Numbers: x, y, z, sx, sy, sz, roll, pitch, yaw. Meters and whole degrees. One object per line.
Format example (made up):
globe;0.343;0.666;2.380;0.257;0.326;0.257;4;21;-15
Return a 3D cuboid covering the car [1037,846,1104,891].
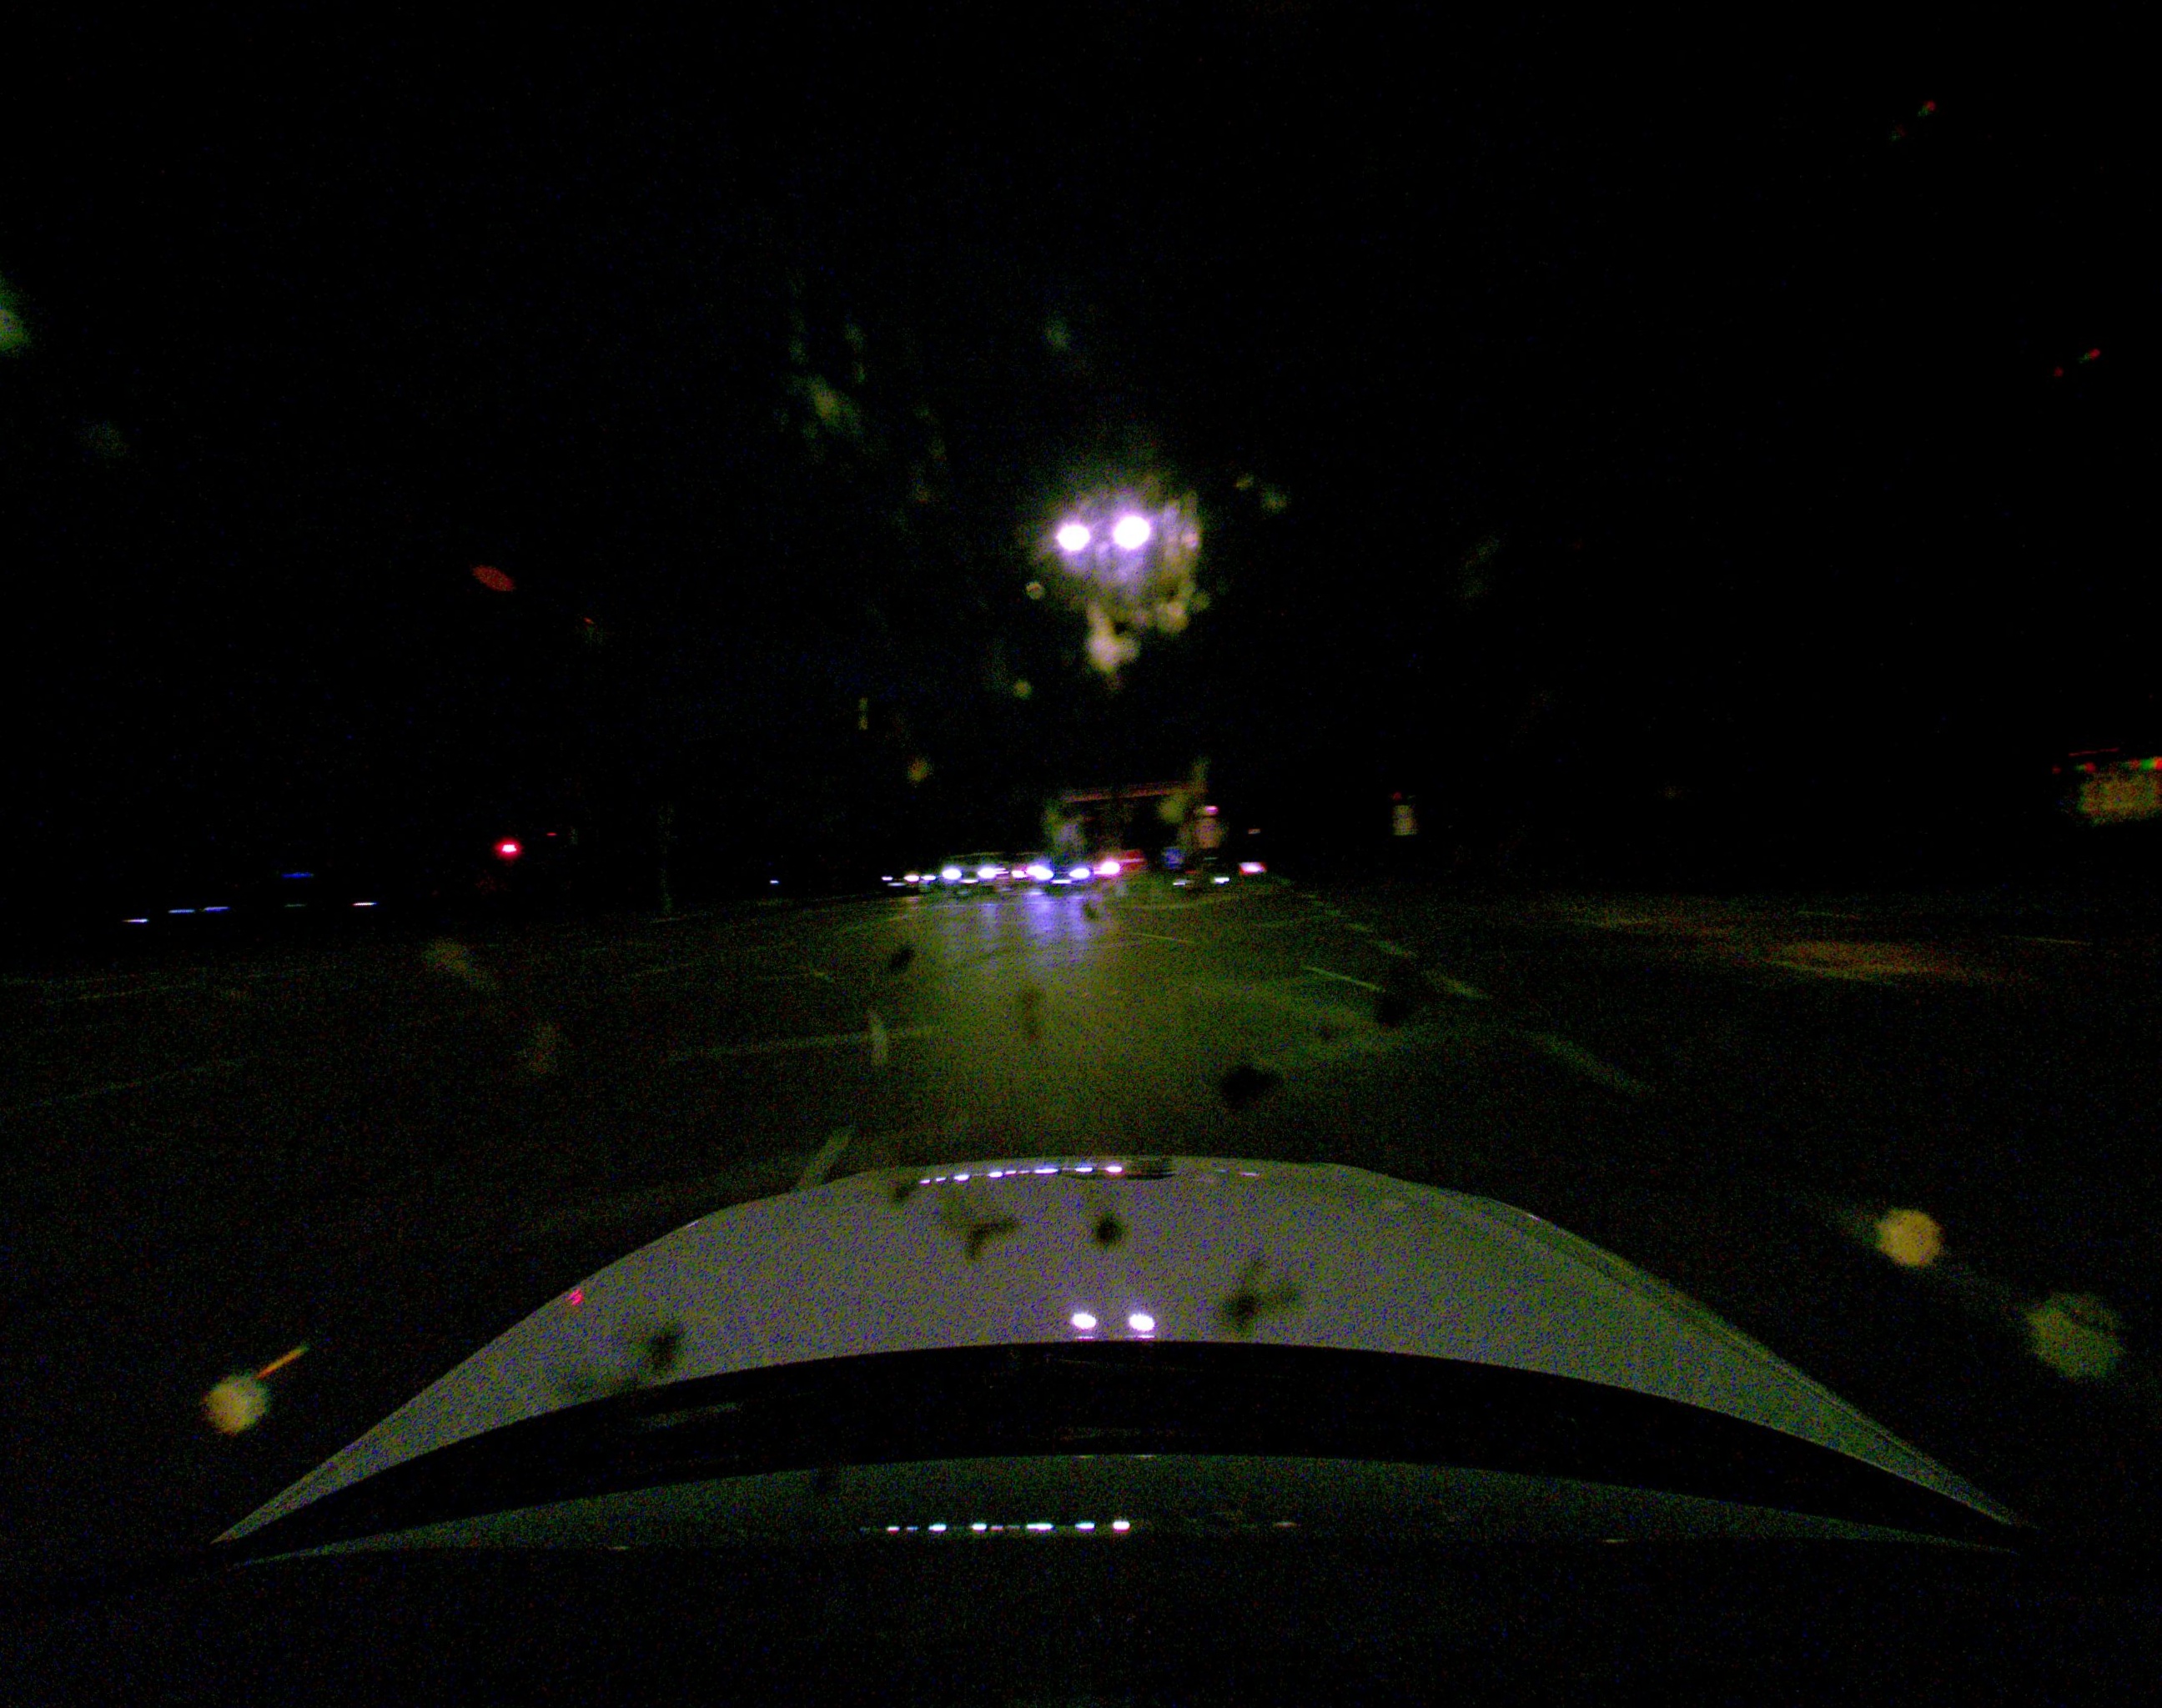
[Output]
car;-0.339;0.541;33.722;1.840;1.633;4.599;-2;0;11

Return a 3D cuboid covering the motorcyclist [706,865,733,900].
motorcyclist;-20.122;1.581;45.326;0.906;1.809;0.875;-8;-4;24

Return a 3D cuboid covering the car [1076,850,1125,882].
car;1.018;0.567;41.164;1.761;1.481;3.923;-2;0;12

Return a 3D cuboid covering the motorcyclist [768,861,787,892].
motorcyclist;-18.489;1.371;49.614;0.678;1.759;0.792;-7;-3;9

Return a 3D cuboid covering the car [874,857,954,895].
car;-7.209;0.910;35.675;1.768;1.445;4.306;-2;1;12

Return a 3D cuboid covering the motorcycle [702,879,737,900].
motorcycle;-20.086;1.968;45.273;0.714;1.033;1.586;-8;-4;24

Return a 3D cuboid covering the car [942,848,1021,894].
car;-4.052;0.656;33.982;1.896;1.682;4.434;-2;1;11

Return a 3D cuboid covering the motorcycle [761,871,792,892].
motorcycle;-18.490;1.666;49.509;0.842;1.181;1.826;-7;-3;9

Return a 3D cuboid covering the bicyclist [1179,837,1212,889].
bicyclist;3.730;0.299;26.583;0.992;1.651;0.604;-2;0;4

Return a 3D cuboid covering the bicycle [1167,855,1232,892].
bicycle;3.847;0.630;26.560;2.052;1.101;0.696;-2;0;4

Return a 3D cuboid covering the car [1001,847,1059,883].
car;-2.491;0.524;41.011;1.734;1.626;4.377;-2;1;11

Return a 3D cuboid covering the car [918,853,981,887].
car;-6.662;0.786;41.668;1.820;1.524;4.012;-3;0;11
